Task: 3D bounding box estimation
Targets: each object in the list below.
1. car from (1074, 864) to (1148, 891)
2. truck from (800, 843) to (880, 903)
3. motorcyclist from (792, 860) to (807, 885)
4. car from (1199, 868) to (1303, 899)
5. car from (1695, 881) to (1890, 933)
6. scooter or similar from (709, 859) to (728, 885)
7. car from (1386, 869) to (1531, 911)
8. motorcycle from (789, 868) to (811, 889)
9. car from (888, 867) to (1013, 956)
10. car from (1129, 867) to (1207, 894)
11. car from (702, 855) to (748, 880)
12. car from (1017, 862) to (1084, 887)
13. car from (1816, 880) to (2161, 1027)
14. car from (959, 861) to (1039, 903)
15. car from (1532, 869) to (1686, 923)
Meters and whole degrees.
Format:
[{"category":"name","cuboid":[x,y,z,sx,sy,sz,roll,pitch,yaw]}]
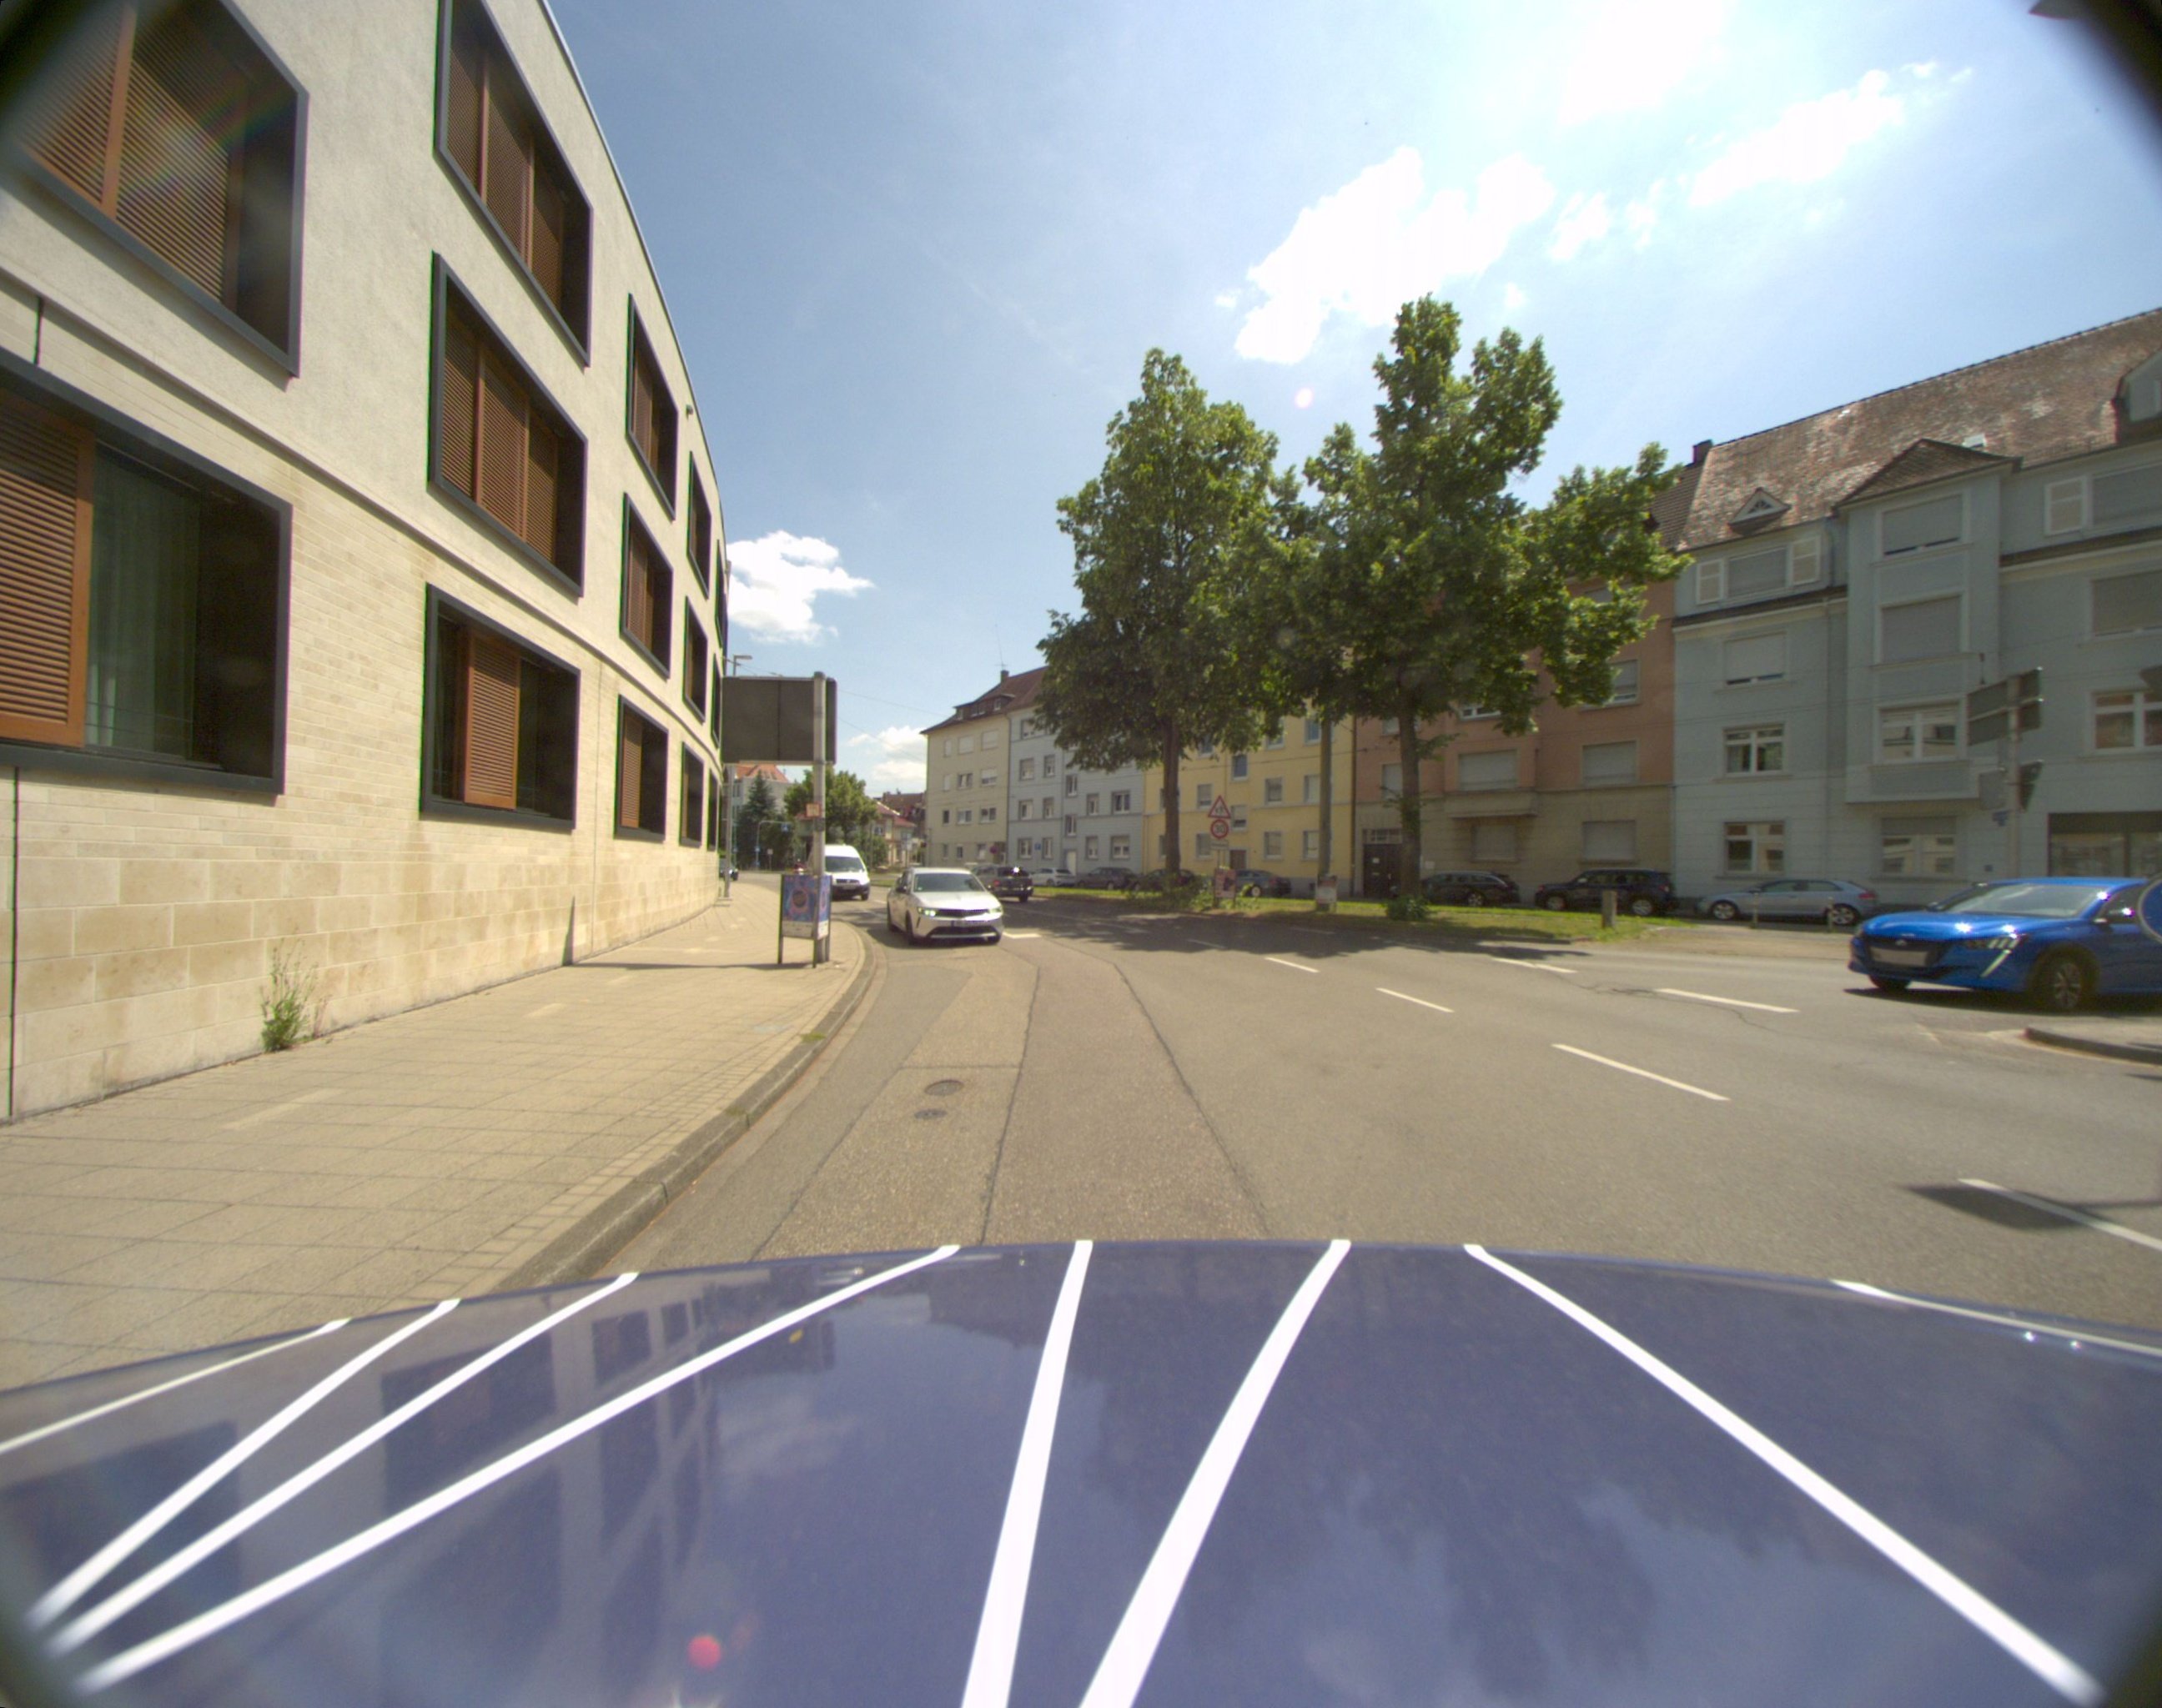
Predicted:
[{"category":"car","cuboid":[1.803,1.394,46.201,1.939,1.495,4.313,4,-2,-43]},{"category":"truck","cuboid":[-9.955,0.684,31.116,2.025,2.236,5.394,1,0,-29]},{"category":"motorcyclist","cuboid":[-15.016,0.973,40.575,0.736,1.329,1.169,0,0,-20]},{"category":"car","cuboid":[8.458,1.449,38.185,1.939,1.389,4.849,4,-3,-40]},{"category":"car","cuboid":[21.760,1.594,23.370,1.817,1.348,4.238,4,-3,-42]},{"category":"scooter or similar","cuboid":[-18.310,0.881,38.356,0.584,1.253,1.364,4,-2,-36]},{"category":"car","cuboid":[15.123,1.425,30.657,1.939,1.481,4.849,4,-3,-41]},{"category":"motorcycle","cuboid":[-15.143,1.293,40.950,1.058,1.073,2.613,0,0,-19]},{"category":"car","cuboid":[-2.836,1.058,15.714,1.804,1.458,4.163,0,0,-20]},{"category":"car","cuboid":[4.807,1.454,42.444,1.841,1.391,4.130,4,-2,-41]},{"category":"car","cuboid":[-24.941,0.933,53.174,1.810,1.500,4.534,6,-3,-38]},{"category":"car","cuboid":[-2.038,1.361,50.030,1.939,1.442,4.363,5,-4,-43]},{"category":"car","cuboid":[11.404,1.074,8.859,3.998,1.483,1.815,0,0,-2]},{"category":"car","cuboid":[-3.279,1.036,29.649,1.745,1.479,4.399,1,0,-25]},{"category":"car","cuboid":[18.604,1.448,26.889,1.847,1.675,4.131,4,-3,-42]}]
